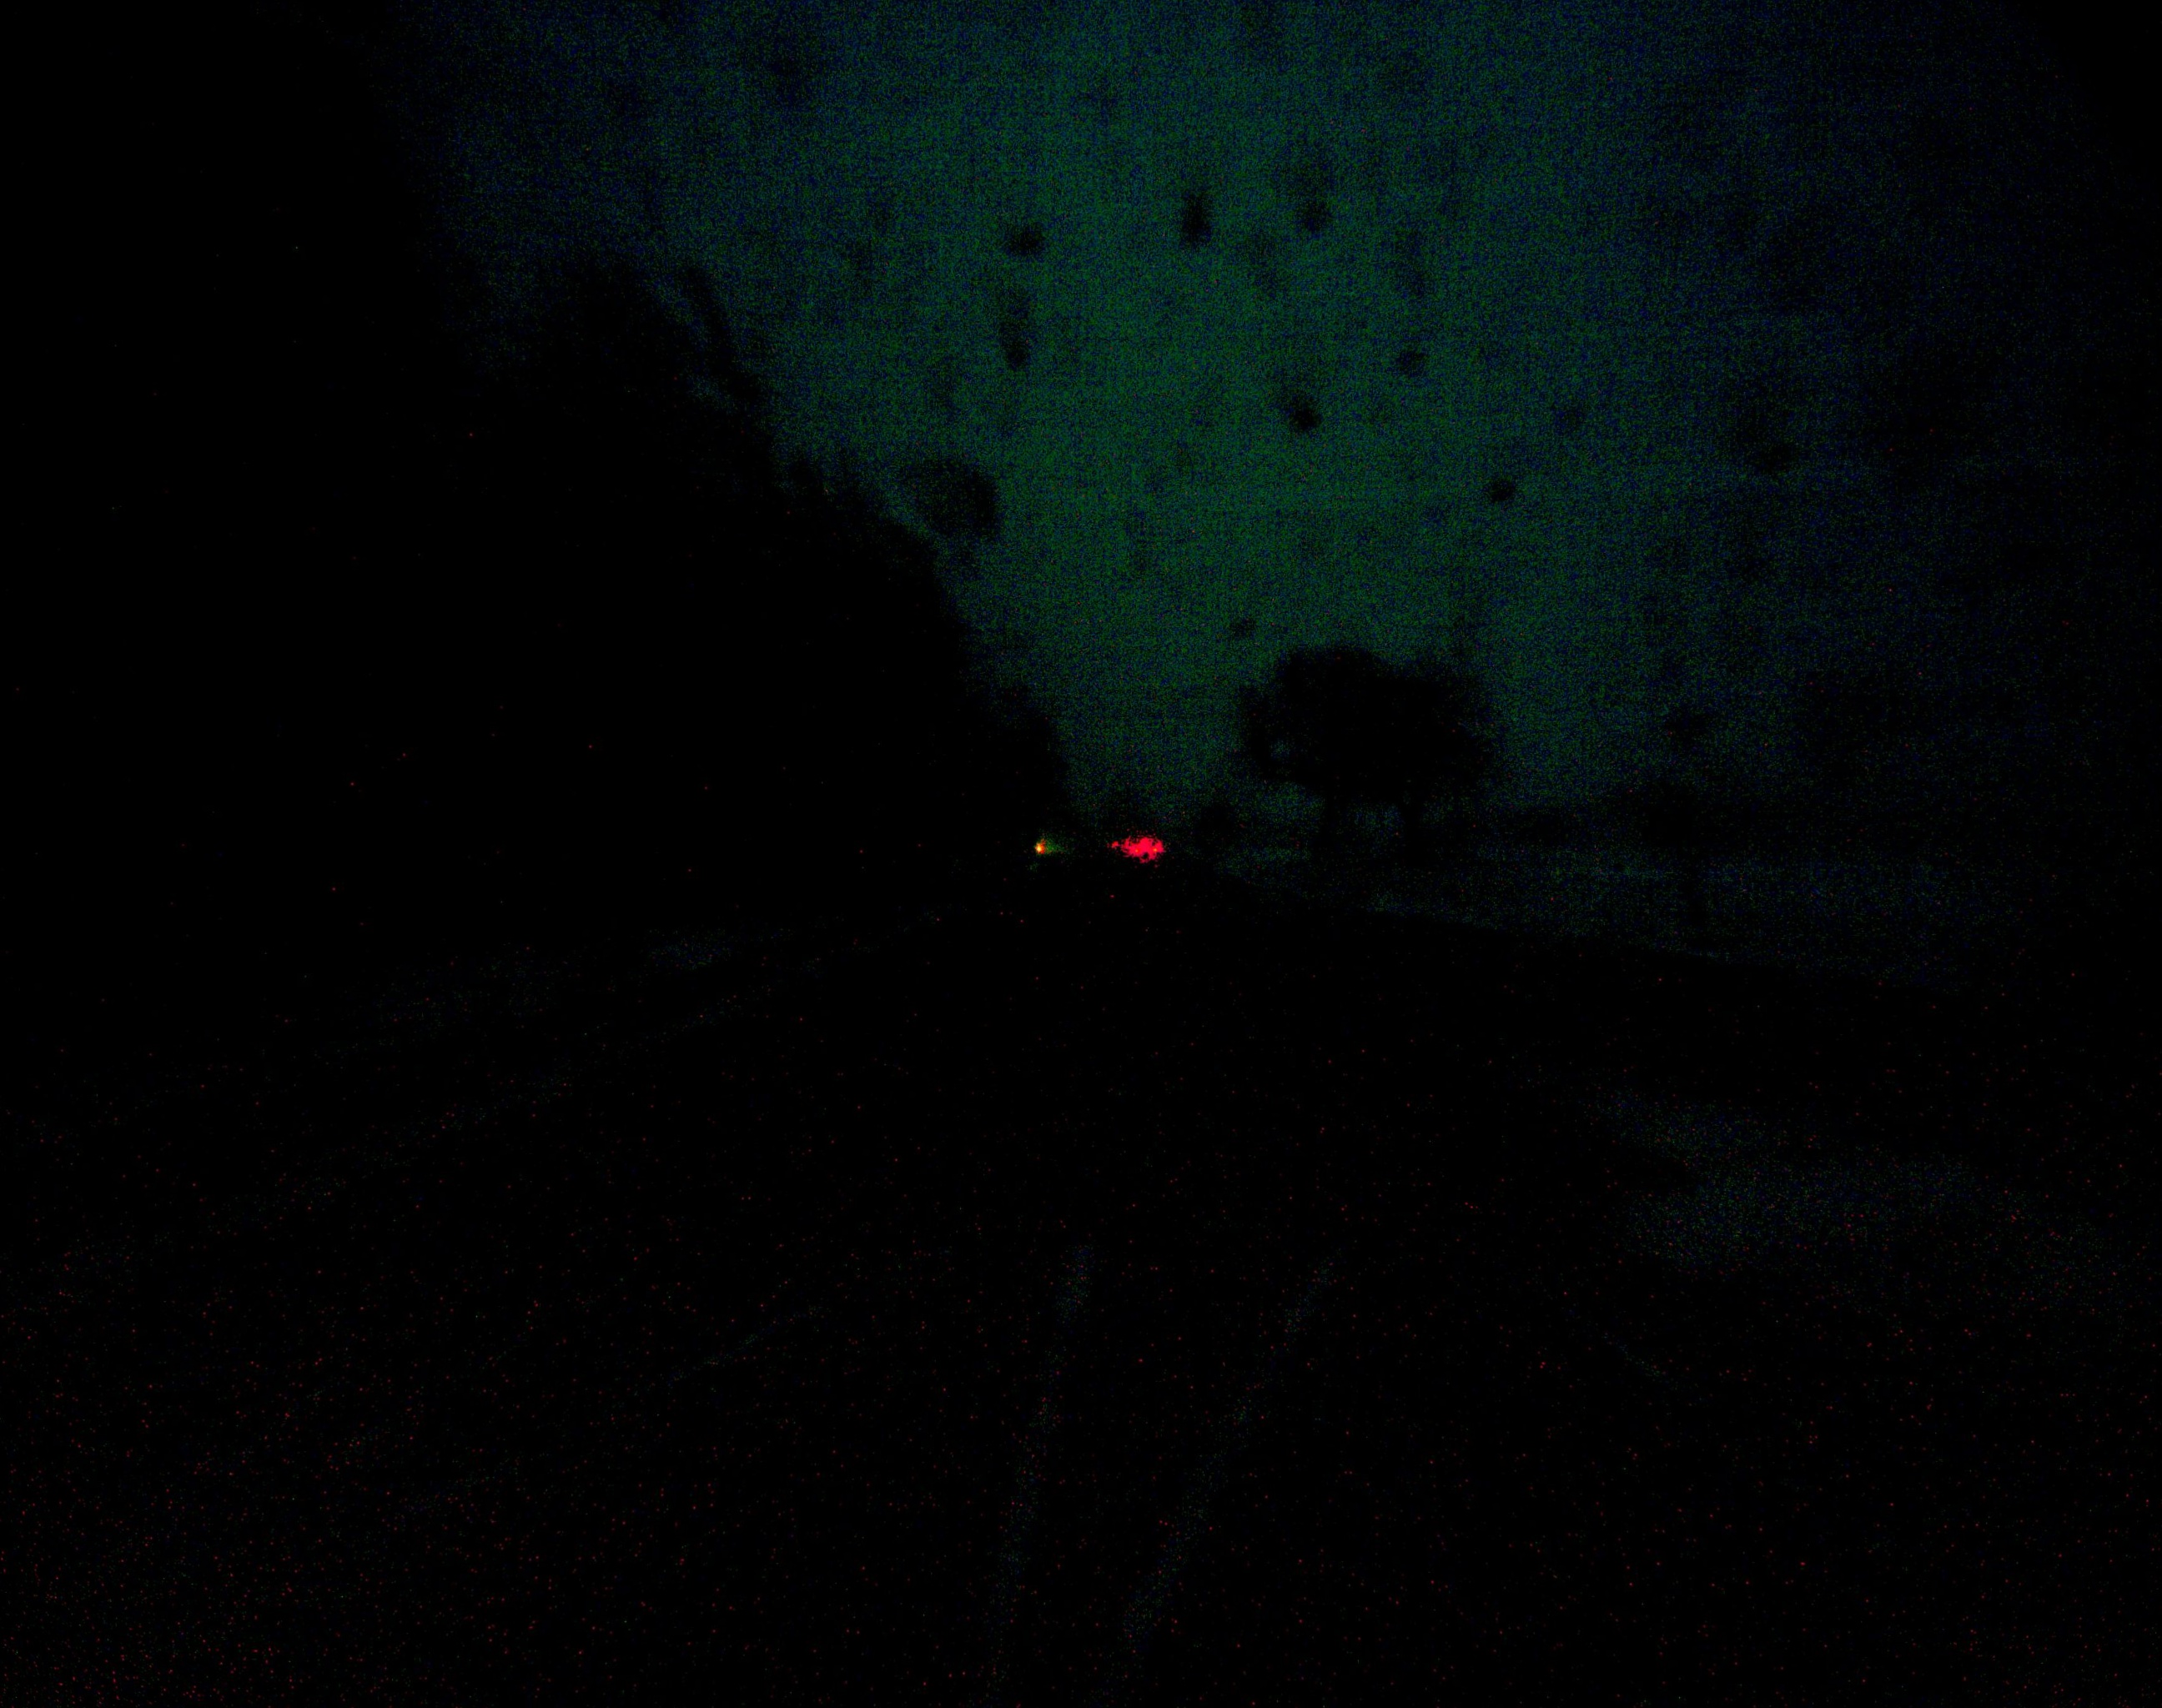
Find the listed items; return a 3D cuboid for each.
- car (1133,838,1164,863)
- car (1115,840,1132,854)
[{"bbox_3d":[5.136,-0.315,58.434,1.998,1.796,3.999,-2,1,1],"label":"car"},{"bbox_3d":[5.581,-0.915,99.756,1.998,1.796,3.999,-2,1,1],"label":"car"}]
